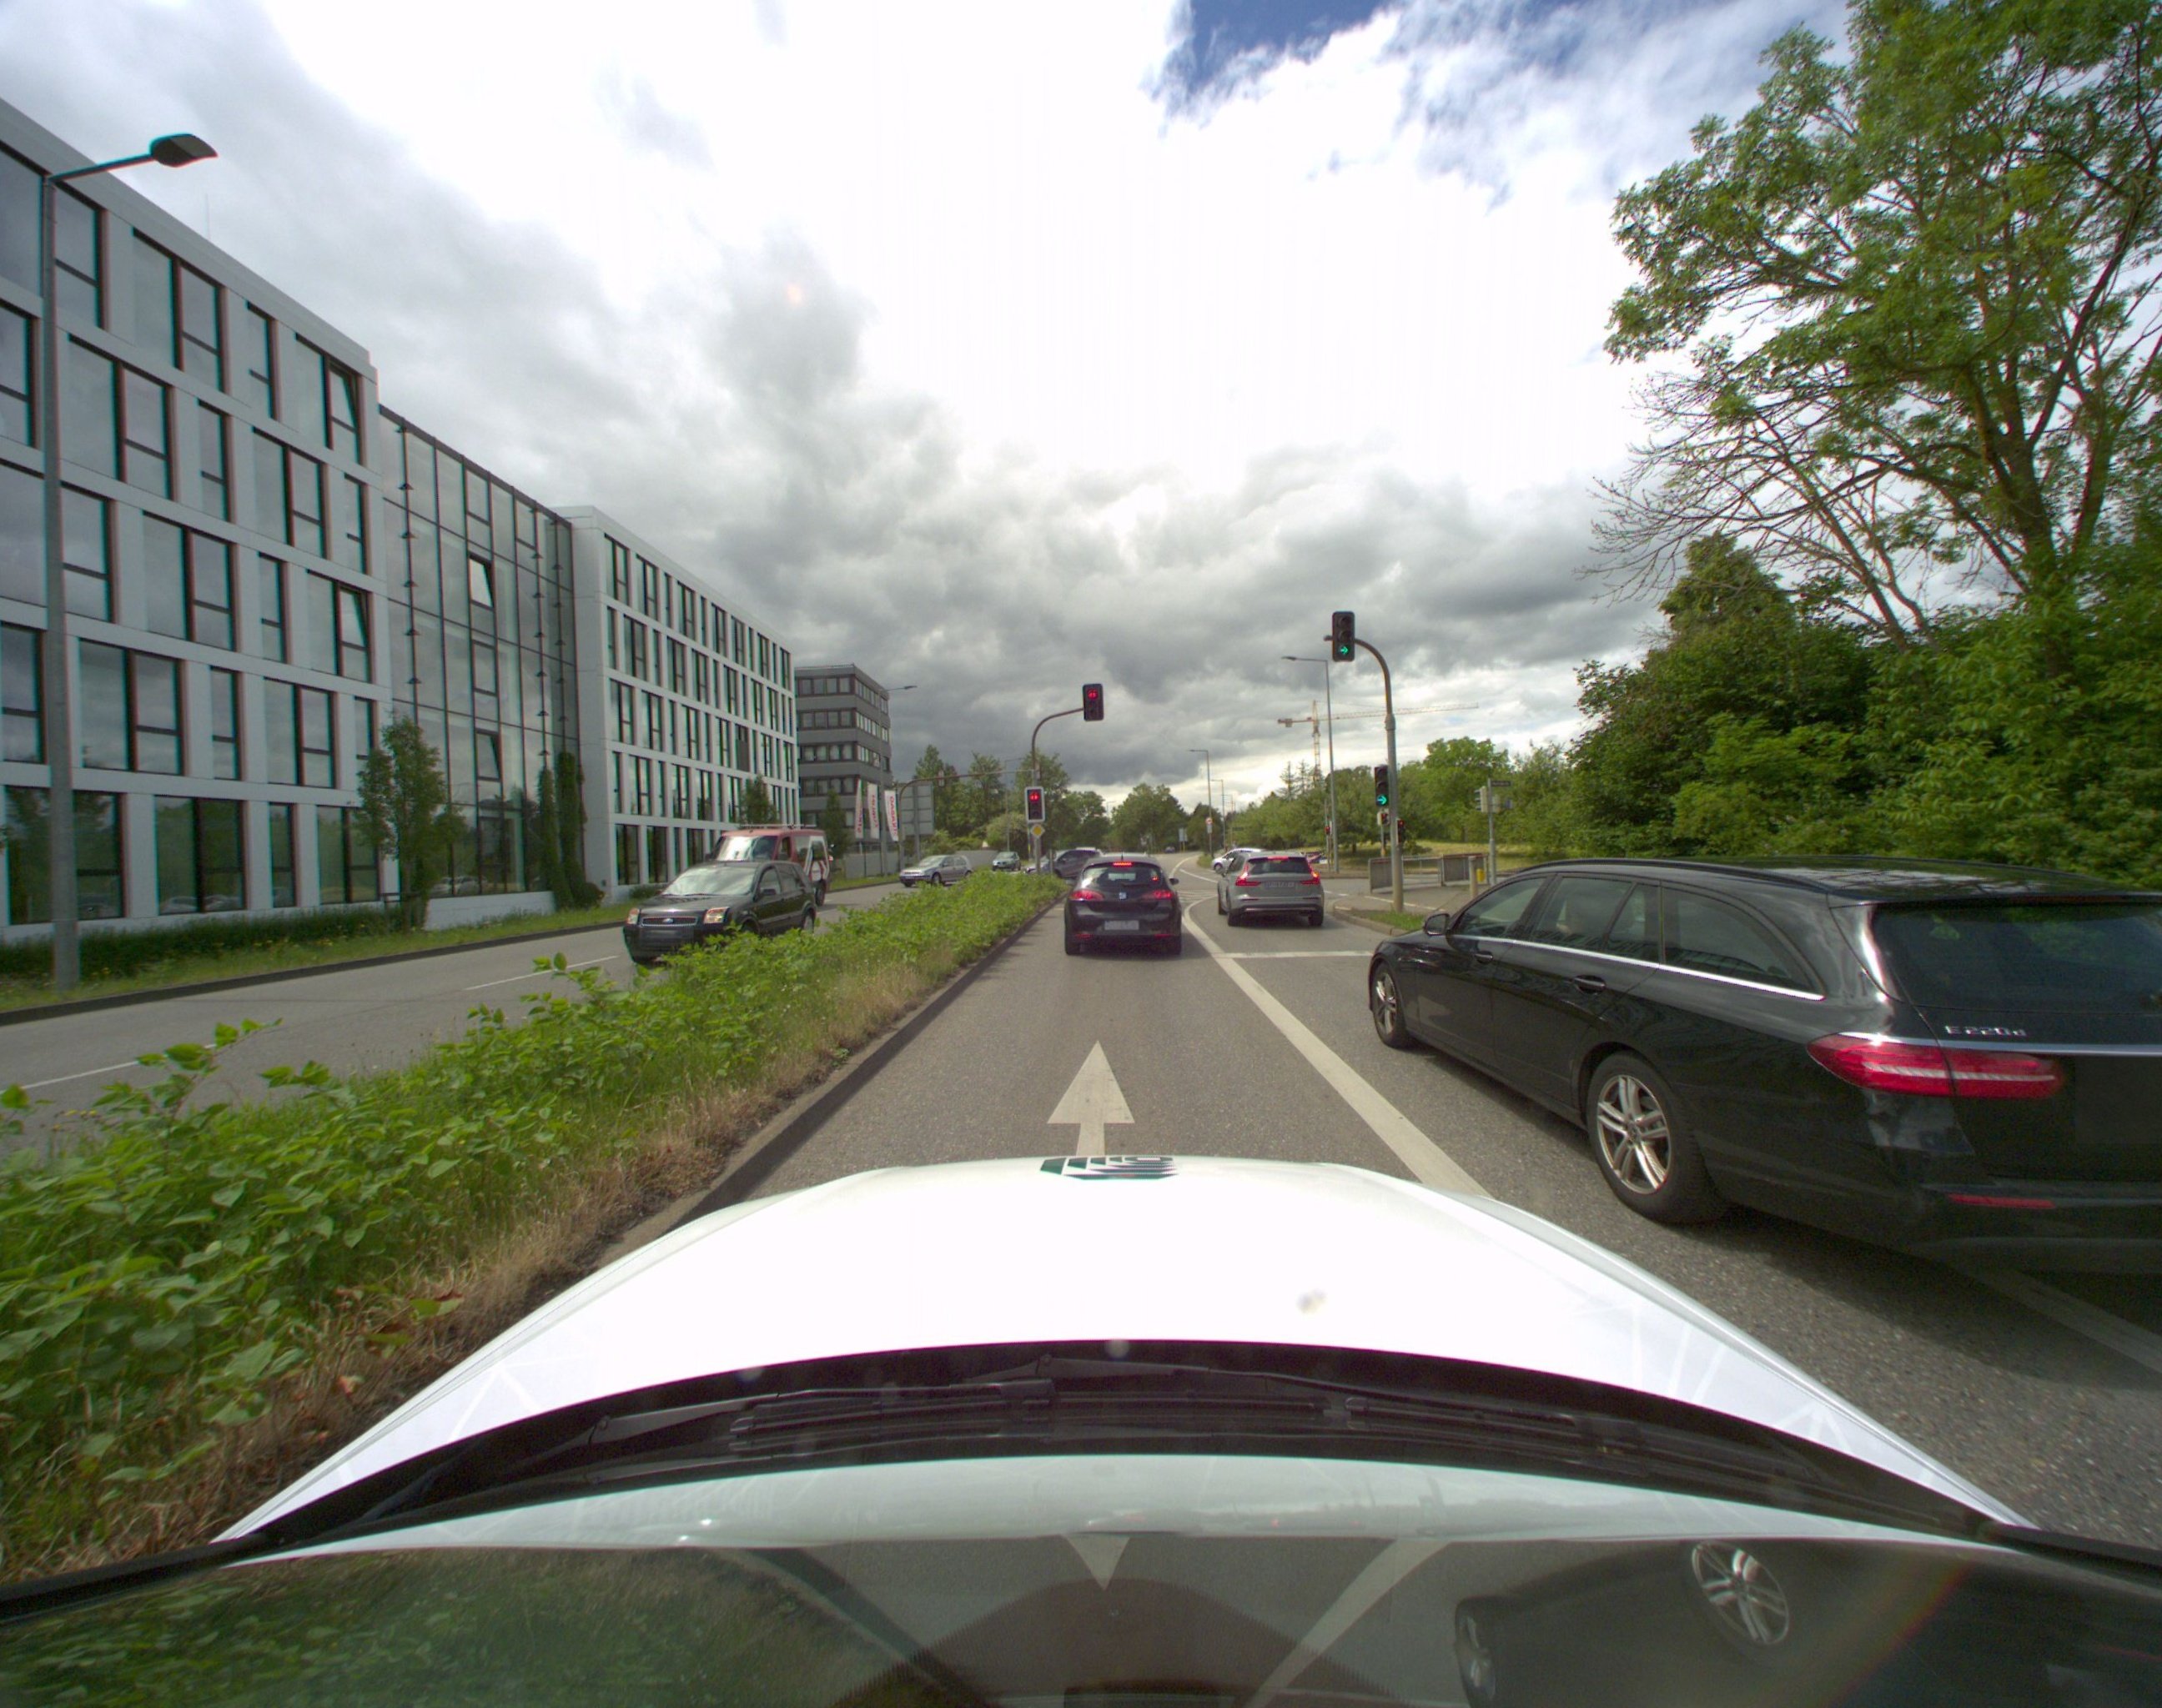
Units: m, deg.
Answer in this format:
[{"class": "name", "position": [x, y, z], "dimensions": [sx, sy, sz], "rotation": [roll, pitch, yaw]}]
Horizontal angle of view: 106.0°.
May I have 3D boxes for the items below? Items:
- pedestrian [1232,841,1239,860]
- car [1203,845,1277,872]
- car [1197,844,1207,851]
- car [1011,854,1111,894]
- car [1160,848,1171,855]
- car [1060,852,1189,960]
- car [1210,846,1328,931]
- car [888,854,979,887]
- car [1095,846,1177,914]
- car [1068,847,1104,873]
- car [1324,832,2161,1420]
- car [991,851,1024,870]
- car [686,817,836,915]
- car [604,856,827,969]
[{"class": "pedestrian", "position": [13.782, -0.329, 72.526], "dimensions": [0.556, 1.726, 0.588], "rotation": [-1, 0, 3]}, {"class": "car", "position": [9.849, 0.270, 50.485], "dimensions": [3.948, 1.530, 2.013], "rotation": [-1, 0, 38]}, {"class": "car", "position": [28.114, -1.518, 188.995], "dimensions": [1.981, 1.352, 4.012], "rotation": [-1, 0, 10]}, {"class": "car", "position": [-0.860, 0.851, 36.027], "dimensions": [4.020, 1.516, 1.919], "rotation": [-2, 1, -38]}, {"class": "car", "position": [18.422, -0.564, 177.514], "dimensions": [1.981, 1.352, 4.012], "rotation": [-1, 0, 10]}, {"class": "car", "position": [0.670, 0.715, 13.076], "dimensions": [1.766, 1.451, 3.584], "rotation": [-1, 0, 2]}, {"class": "car", "position": [3.864, 0.632, 17.446], "dimensions": [1.853, 1.518, 4.454], "rotation": [-3, 0, 6]}, {"class": "car", "position": [-6.774, 0.752, 37.727], "dimensions": [1.974, 1.354, 4.025], "rotation": [-2, 1, 31]}, {"class": "car", "position": [1.296, 0.594, 20.555], "dimensions": [1.767, 1.491, 3.582], "rotation": [-3, 0, 0]}, {"class": "car", "position": [0.375, 0.370, 53.460], "dimensions": [1.984, 1.596, 4.006], "rotation": [-2, 0, 5]}, {"class": "car", "position": [3.173, 0.670, 4.710], "dimensions": [1.867, 1.440, 5.198], "rotation": [-3, 0, -1]}, {"class": "car", "position": [-5.525, 0.476, 61.612], "dimensions": [1.986, 1.352, 4.002], "rotation": [-1, 0, 2]}, {"class": "car", "position": [-8.876, 0.293, 23.217], "dimensions": [1.986, 2.412, 5.243], "rotation": [-2, 0, 2]}, {"class": "car", "position": [-5.668, 0.812, 13.247], "dimensions": [1.672, 1.482, 4.002], "rotation": [-2, 0, 2]}]
